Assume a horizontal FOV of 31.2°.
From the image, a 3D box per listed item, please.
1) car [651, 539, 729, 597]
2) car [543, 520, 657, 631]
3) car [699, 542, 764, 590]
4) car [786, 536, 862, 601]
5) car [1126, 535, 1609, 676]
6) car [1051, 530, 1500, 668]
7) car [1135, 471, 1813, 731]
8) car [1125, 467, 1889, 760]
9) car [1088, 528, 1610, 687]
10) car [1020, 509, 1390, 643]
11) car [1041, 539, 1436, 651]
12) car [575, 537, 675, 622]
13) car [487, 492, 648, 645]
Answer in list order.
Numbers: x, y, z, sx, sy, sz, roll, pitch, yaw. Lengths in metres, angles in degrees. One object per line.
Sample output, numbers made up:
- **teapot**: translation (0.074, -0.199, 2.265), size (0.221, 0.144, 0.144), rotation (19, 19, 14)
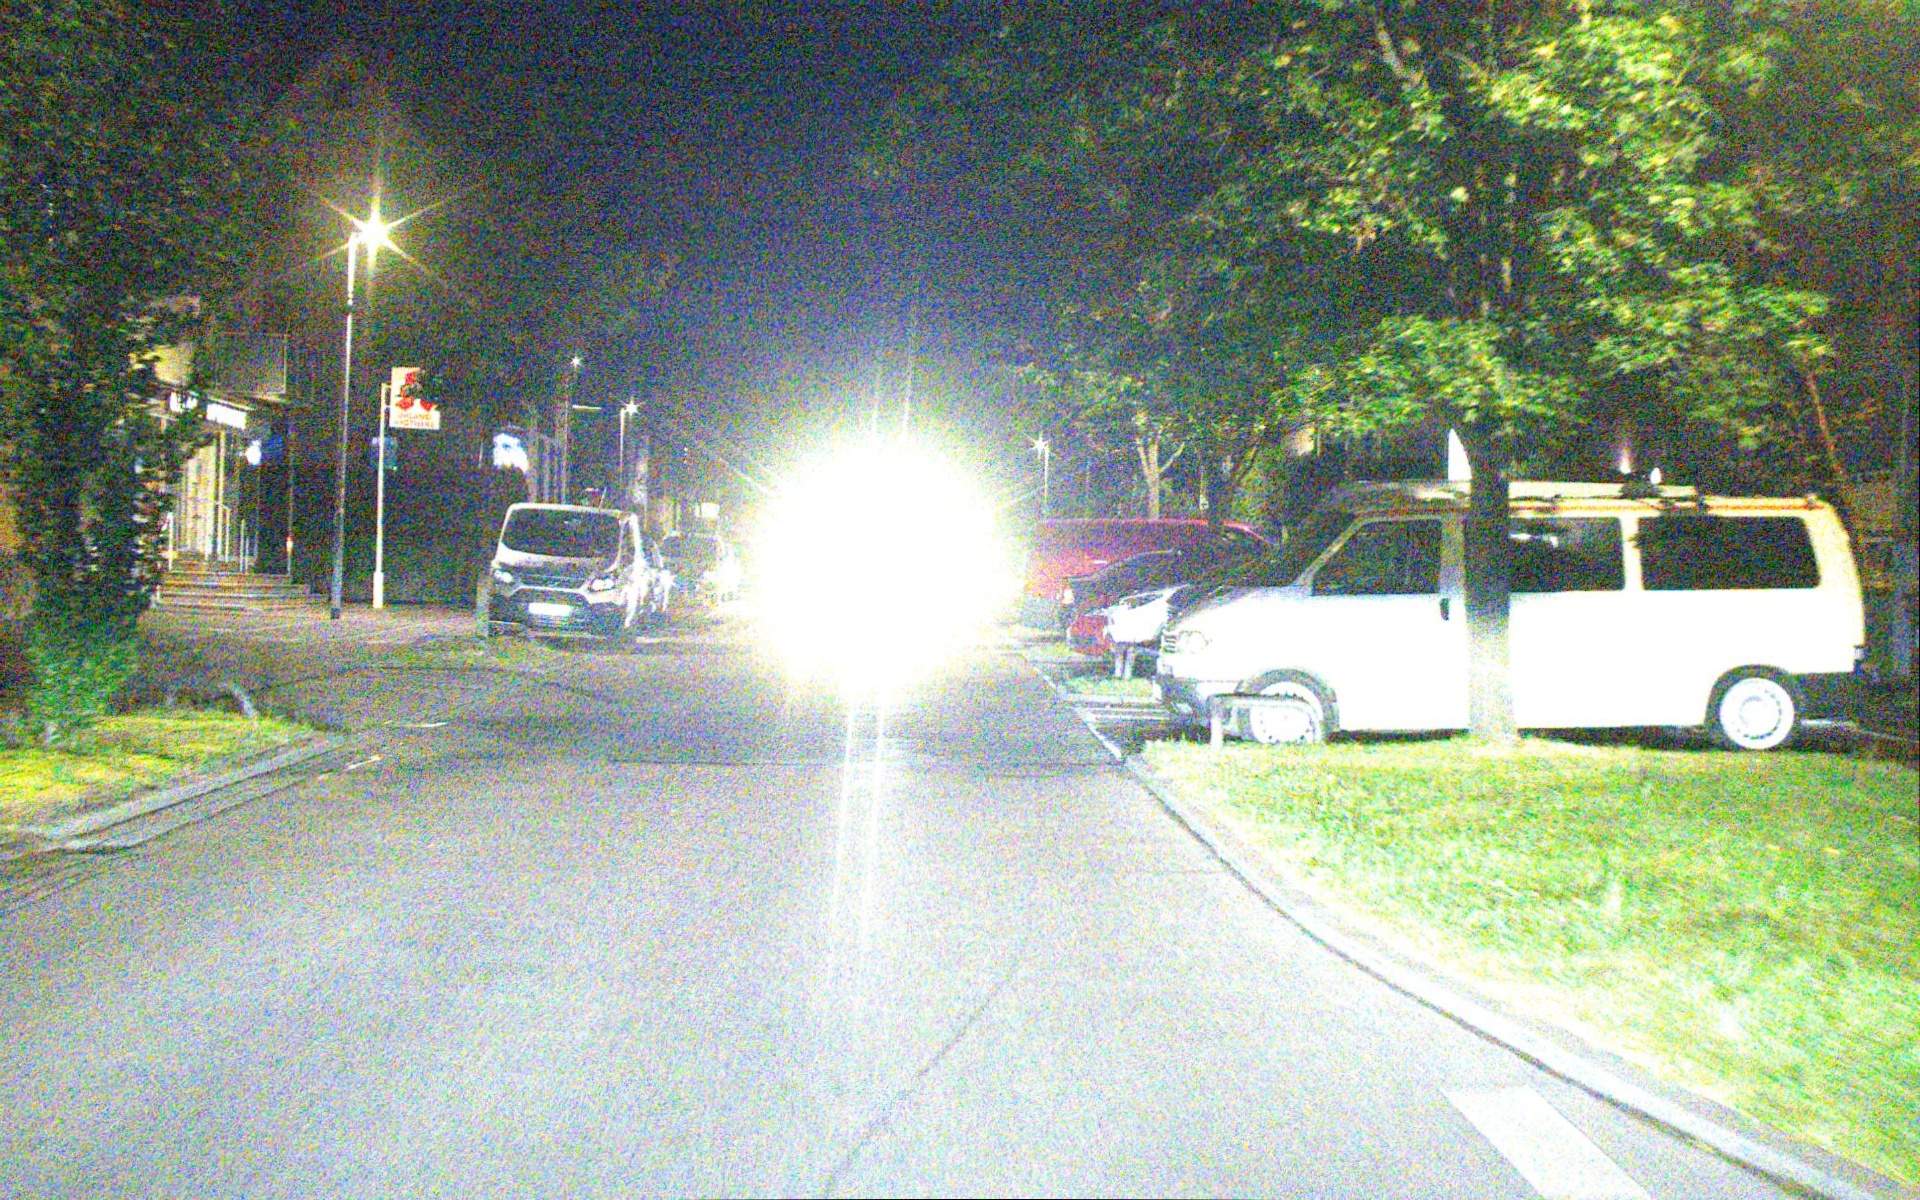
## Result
- **car**: translation (-6.386, -0.779, 81.544), size (1.683, 1.326, 3.600), rotation (1, 1, -2)
- **car**: translation (-5.798, -0.414, 55.625), size (1.534, 1.682, 3.212), rotation (3, 1, -2)
- **car**: translation (-6.467, -0.978, 97.556), size (1.683, 1.326, 3.600), rotation (1, 1, -2)
- **car**: translation (-3.517, -0.838, 89.037), size (1.927, 1.643, 3.822), rotation (0, 1, -2)
- **car**: translation (4.553, 0.038, 39.021), size (5.182, 1.519, 2.102), rotation (0, 1, -2)
- **car**: translation (3.755, -0.035, 41.568), size (5.182, 1.588, 2.102), rotation (0, 1, -2)
- **car**: translation (4.107, -0.012, 28.095), size (5.182, 2.007, 2.102), rotation (0, 1, -2)
- **car**: translation (3.879, 0.073, 25.030), size (5.182, 2.007, 2.102), rotation (0, 1, -2)
- **car**: translation (4.009, 0.053, 36.077), size (5.182, 1.588, 2.102), rotation (0, 1, -2)
- **car**: translation (3.579, -0.351, 49.774), size (5.184, 1.880, 2.101), rotation (0, 1, 9)
- **car**: translation (3.759, -0.091, 47.084), size (5.182, 1.464, 2.102), rotation (0, 1, -2)
- **car**: translation (-5.887, -0.381, 60.661), size (1.534, 1.446, 3.119), rotation (1, 1, -2)
- **car**: translation (-5.513, -0.468, 48.745), size (1.824, 1.980, 4.466), rotation (3, 1, -2)
